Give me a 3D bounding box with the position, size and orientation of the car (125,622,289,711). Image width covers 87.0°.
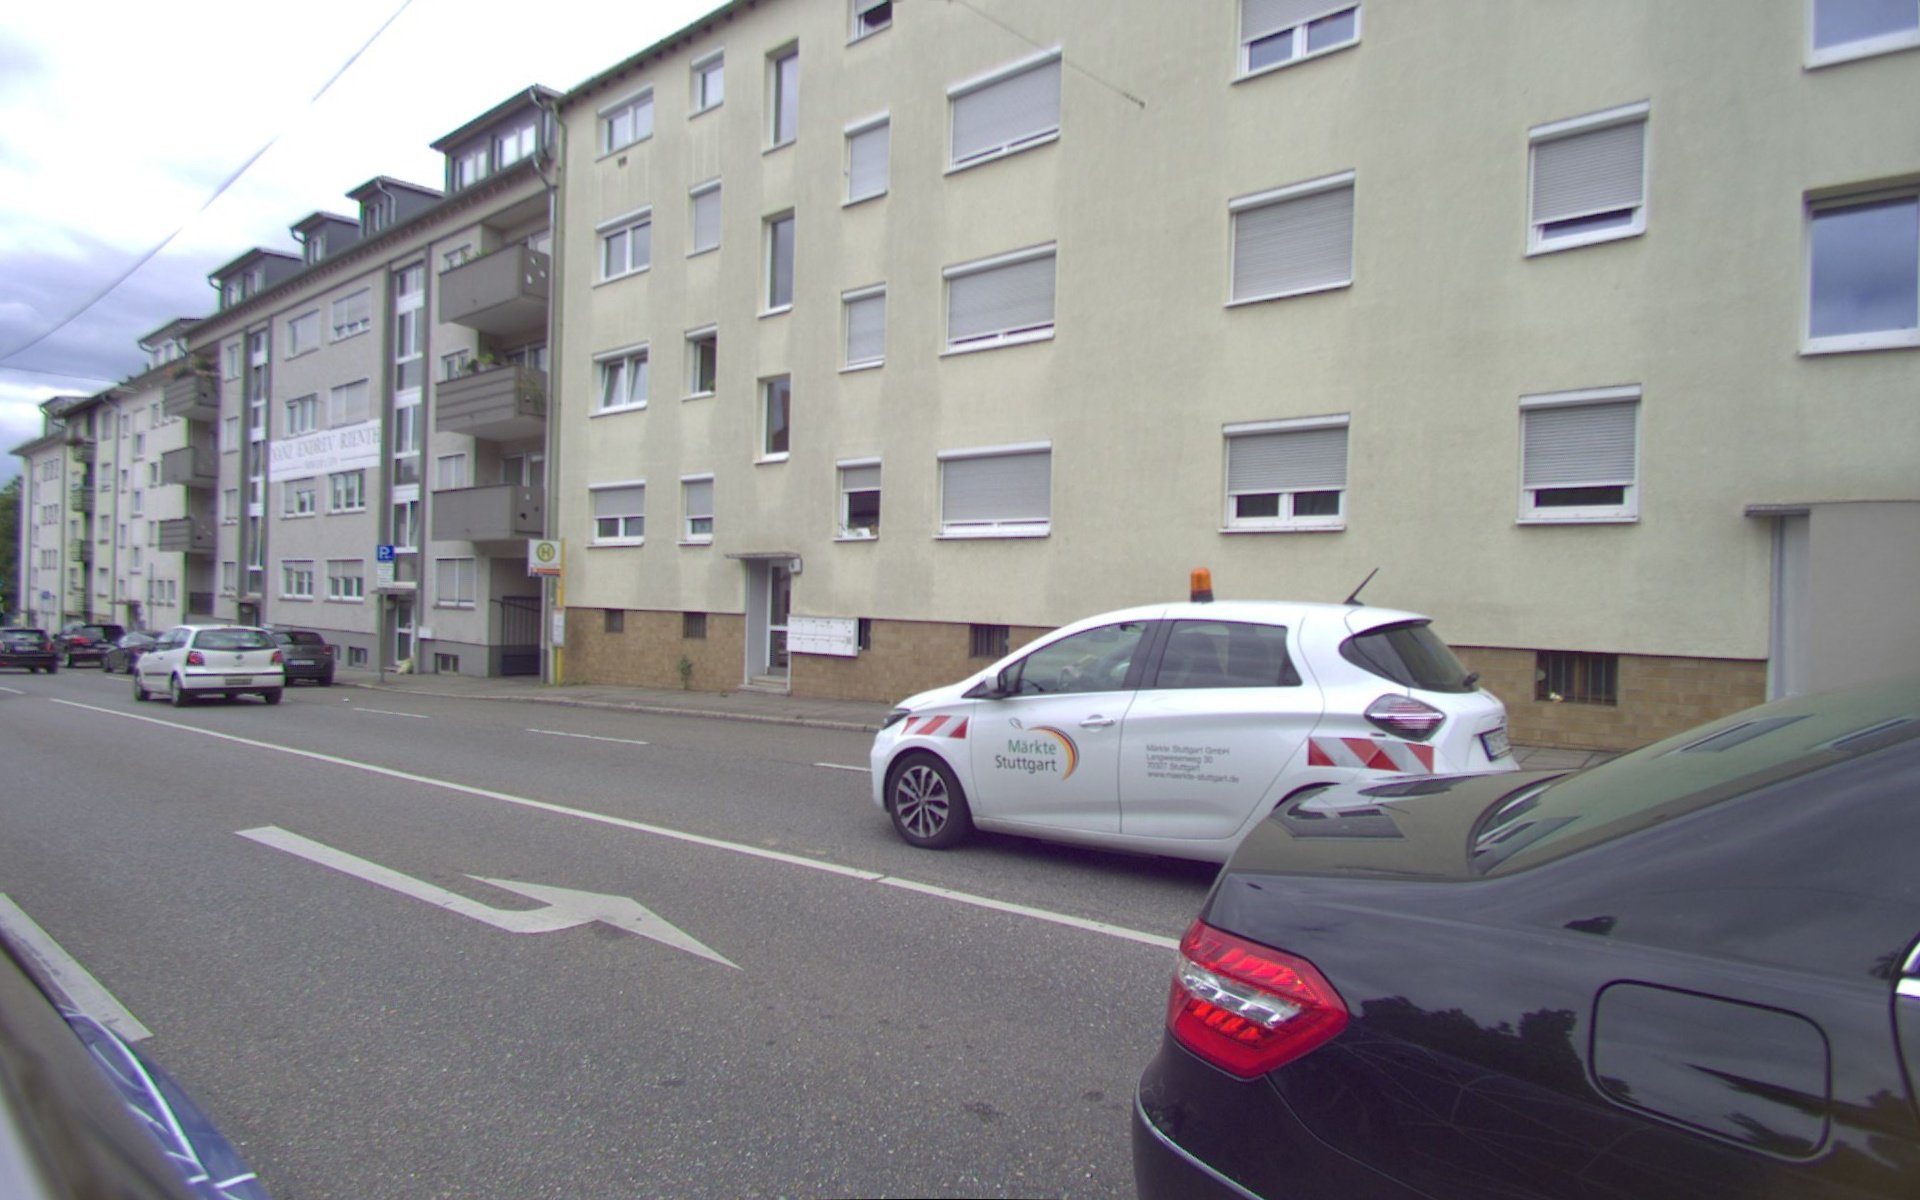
[{"bbox_3d":[-14.131,1.176,18.941,3.595,1.494,1.573,-1,-2,38],"label":"car"}]

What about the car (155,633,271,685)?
[{"bbox_3d":[-21.444,1.657,29.011,3.533,1.386,1.649,-1,-3,36],"label":"car"}]

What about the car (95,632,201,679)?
[{"bbox_3d":[-26.232,1.770,32.675,3.533,1.414,1.755,-1,-3,36],"label":"car"}]

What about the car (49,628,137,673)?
[{"bbox_3d":[-33.132,1.890,38.652,3.533,1.613,1.755,-1,-3,36],"label":"car"}]

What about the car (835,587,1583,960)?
[{"bbox_3d":[1.292,0.770,6.172,4.080,1.533,1.753,-1,-3,40],"label":"car"}]

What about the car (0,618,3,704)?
[{"bbox_3d":[-20.381,1.185,19.759,4.474,1.623,1.840,-1,0,38],"label":"car"}]

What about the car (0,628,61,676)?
[{"bbox_3d":[-29.817,1.595,31.661,3.637,1.414,1.755,-1,-3,36],"label":"car"}]

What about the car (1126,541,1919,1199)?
[{"bbox_3d":[2.715,0.655,0.706,4.840,1.440,1.973,-1,-2,41],"label":"car"}]

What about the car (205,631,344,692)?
[{"bbox_3d":[-17.581,1.522,25.924,3.680,1.422,1.755,-1,-3,36],"label":"car"}]
